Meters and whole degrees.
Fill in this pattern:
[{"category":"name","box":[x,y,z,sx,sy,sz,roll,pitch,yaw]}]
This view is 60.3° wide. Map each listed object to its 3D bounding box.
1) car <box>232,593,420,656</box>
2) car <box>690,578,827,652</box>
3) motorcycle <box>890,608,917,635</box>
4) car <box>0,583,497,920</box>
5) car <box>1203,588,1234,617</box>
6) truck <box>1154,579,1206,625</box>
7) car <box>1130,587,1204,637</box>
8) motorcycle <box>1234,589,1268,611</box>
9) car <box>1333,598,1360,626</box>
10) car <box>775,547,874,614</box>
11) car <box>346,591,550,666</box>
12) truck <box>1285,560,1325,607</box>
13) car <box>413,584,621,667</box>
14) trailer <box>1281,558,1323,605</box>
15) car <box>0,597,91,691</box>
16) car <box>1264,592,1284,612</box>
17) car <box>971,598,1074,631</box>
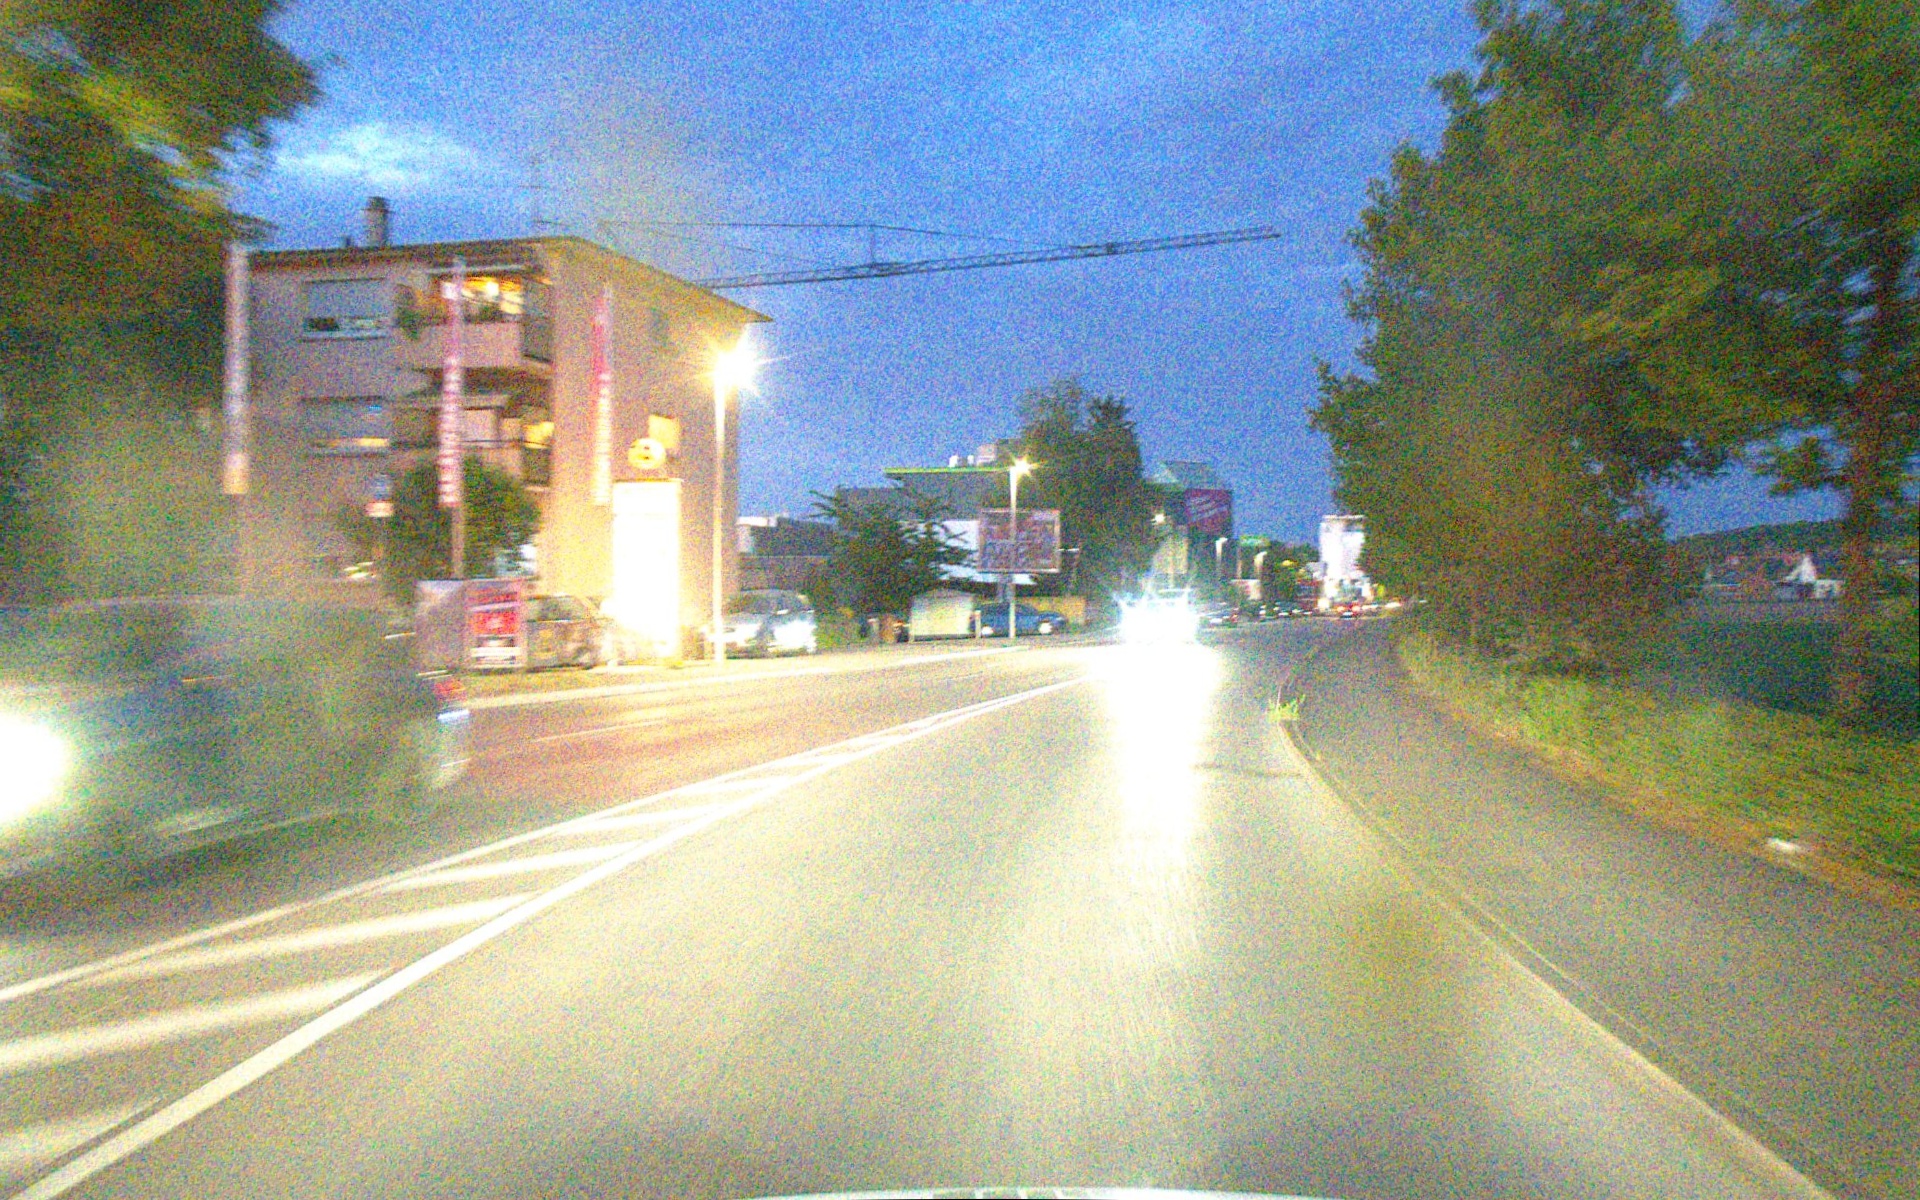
[{"category":"car","box":[-12.421,0.453,32.527,1.516,1.151,3.206,1,0,32]},{"category":"car","box":[-4.755,0.333,39.721,1.718,1.635,4.455,1,0,15]},{"category":"motorcycle","box":[-2.509,0.938,73.234,0.964,1.164,1.850,1,0,5]},{"category":"car","box":[-4.482,0.645,9.236,1.722,1.427,4.591,1,0,11]},{"category":"car","box":[15.079,0.132,96.323,1.680,1.646,3.842,-1,0,10]},{"category":"truck","box":[11.011,0.082,82.415,2.200,2.167,5.985,-1,0,11]},{"category":"car","box":[7.233,0.382,57.451,1.718,1.635,4.454,-1,0,18]},{"category":"motorcycle","box":[28.317,-0.042,160.714,1.299,2.048,3.975,4,3,42]},{"category":"car","box":[30.986,0.962,132.657,1.951,2.048,4.004,-3,1,13]},{"category":"car","box":[-4.426,-0.680,54.782,1.951,2.048,4.003,2,2,16]},{"category":"car","box":[-9.844,0.517,32.024,1.517,1.334,3.689,1,0,33]},{"category":"truck","box":[38.434,-1.929,184.563,3.759,4.975,6.360,2,2,7]},{"category":"car","box":[-8.158,0.437,30.710,1.517,1.445,3.690,1,0,32]},{"category":"trailer","box":[39.090,-2.155,189.611,3.759,4.975,10.819,2,2,7]},{"category":"car","box":[-15.505,0.703,25.537,3.428,1.383,1.498,-2,-1,7]},{"category":"car","box":[28.074,0.205,147.763,1.688,1.769,3.811,-1,0,10]},{"category":"car","box":[2.751,0.623,72.049,4.255,1.383,1.644,0,0,12]}]
